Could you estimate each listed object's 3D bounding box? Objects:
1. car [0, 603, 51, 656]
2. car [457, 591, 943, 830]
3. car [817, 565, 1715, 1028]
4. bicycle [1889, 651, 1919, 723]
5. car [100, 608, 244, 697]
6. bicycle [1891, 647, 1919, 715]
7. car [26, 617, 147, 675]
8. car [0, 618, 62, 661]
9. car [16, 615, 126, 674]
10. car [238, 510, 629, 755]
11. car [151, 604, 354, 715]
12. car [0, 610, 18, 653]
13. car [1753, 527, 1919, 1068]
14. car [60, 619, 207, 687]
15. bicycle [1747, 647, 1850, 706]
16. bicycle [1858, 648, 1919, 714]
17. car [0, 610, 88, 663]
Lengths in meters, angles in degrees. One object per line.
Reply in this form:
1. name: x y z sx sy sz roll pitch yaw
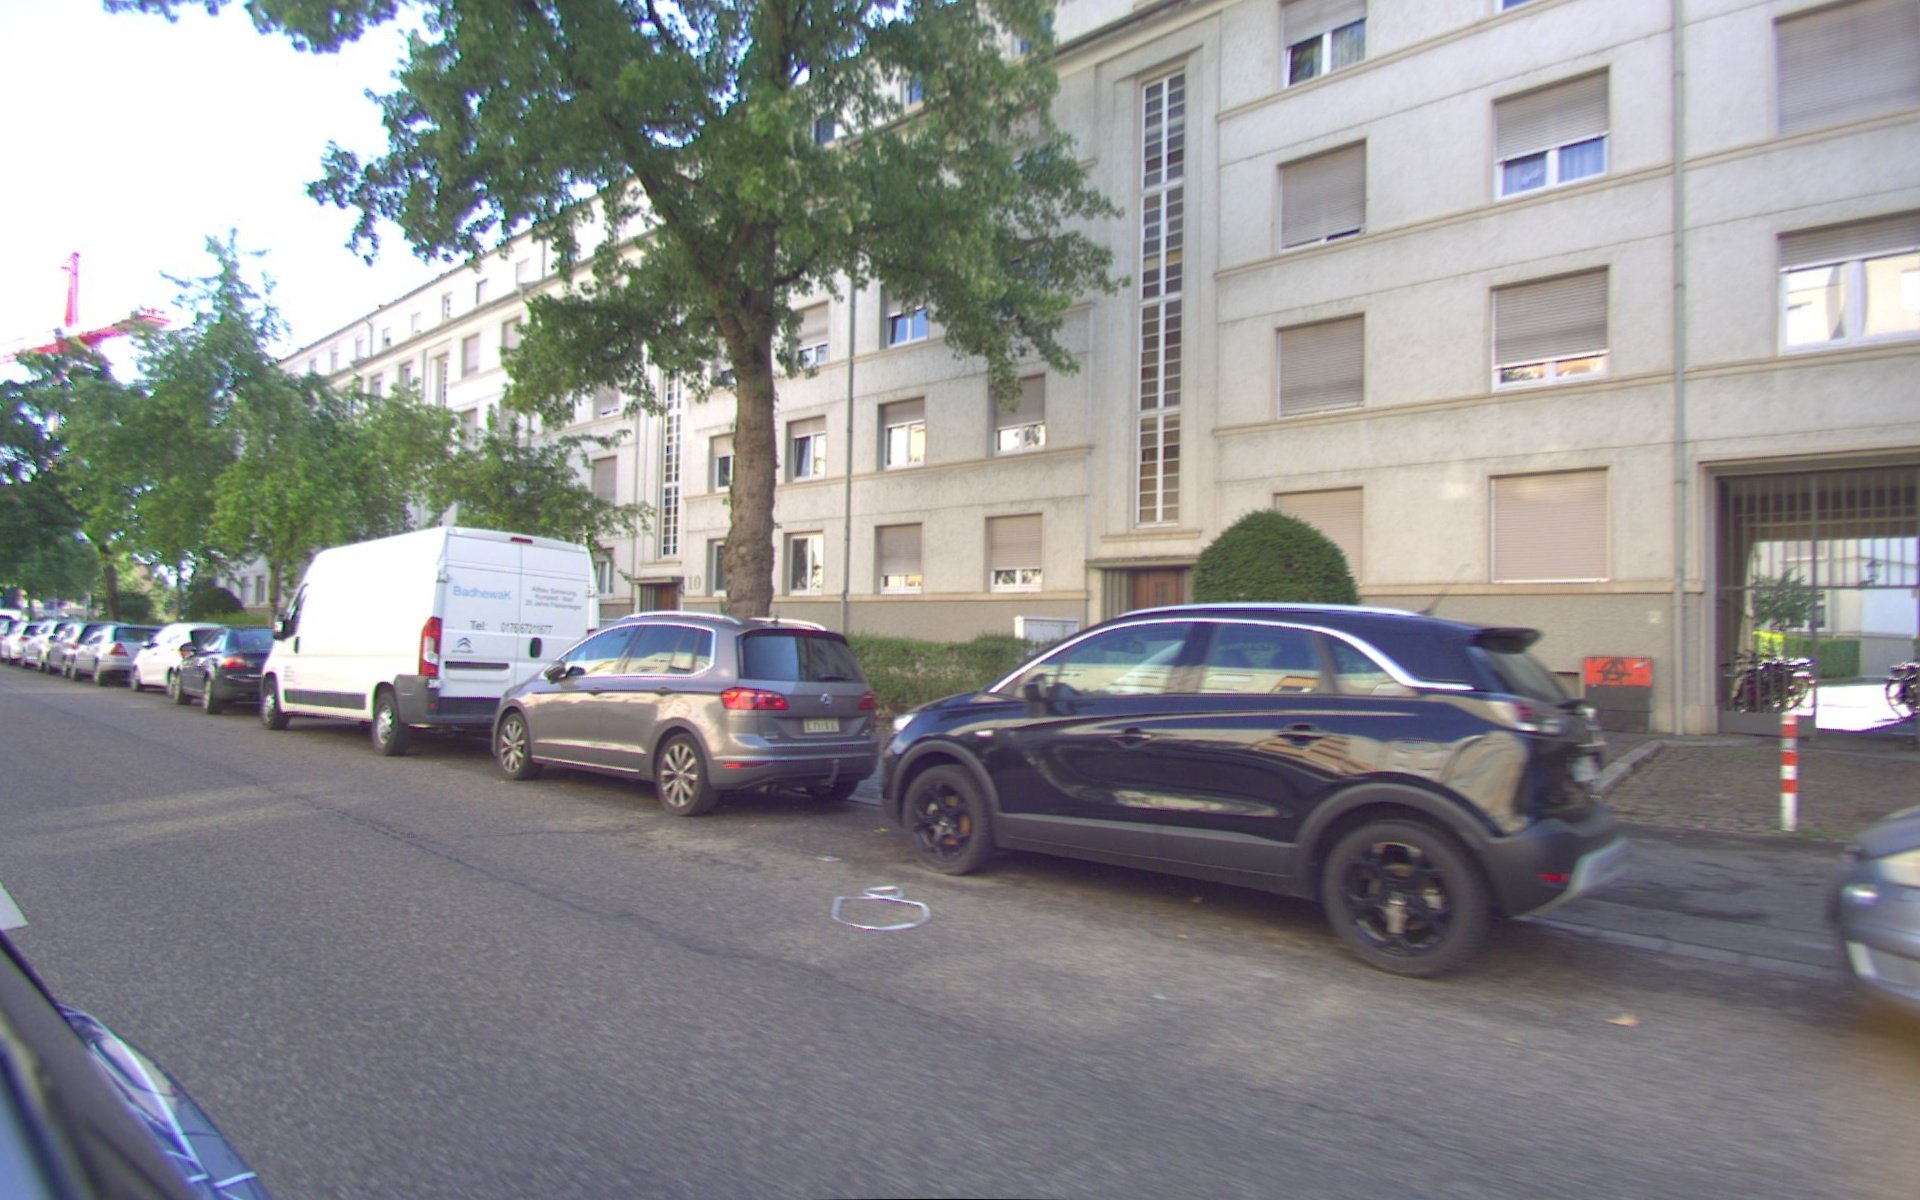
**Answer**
1. car: -38.975 1.156 41.471 3.998 2.029 1.972 0 -4 41
2. car: -2.430 0.776 8.859 4.344 1.570 1.936 0 -3 41
3. car: 1.383 0.709 5.597 4.363 1.570 1.851 0 -3 41
4. bicycle: 16.305 1.409 16.620 2.197 1.120 0.498 0 0 -17
5. car: -16.250 1.070 20.822 3.261 1.586 1.689 -1 -8 43
6. bicycle: 17.295 1.385 17.675 2.197 1.120 0.498 0 0 -17
7. car: -23.875 1.206 27.621 3.996 1.365 1.855 0 0 39
8. car: -35.670 1.460 38.230 4.799 1.445 1.855 0 -1 39
9. car: -26.834 1.280 30.511 3.996 1.563 1.855 0 1 39
10. car: -7.030 0.359 13.101 6.162 2.464 2.333 0 -2 41
11. car: -11.968 0.975 17.042 3.815 1.586 1.690 1 -5 39
12. car: -43.218 1.375 44.585 4.684 1.772 1.855 0 1 39
13. car: 5.033 0.626 2.259 5.053 1.570 1.851 -1 -7 41
14. car: -19.814 1.194 24.188 4.649 1.365 1.855 0 0 39
15. bicycle: 17.141 1.543 20.674 2.197 1.120 0.498 0 0 -17
16. bicycle: 17.384 1.458 18.406 2.197 1.120 0.498 0 0 -17
17. car: -31.067 1.169 33.982 4.467 1.563 1.984 0 0 39
